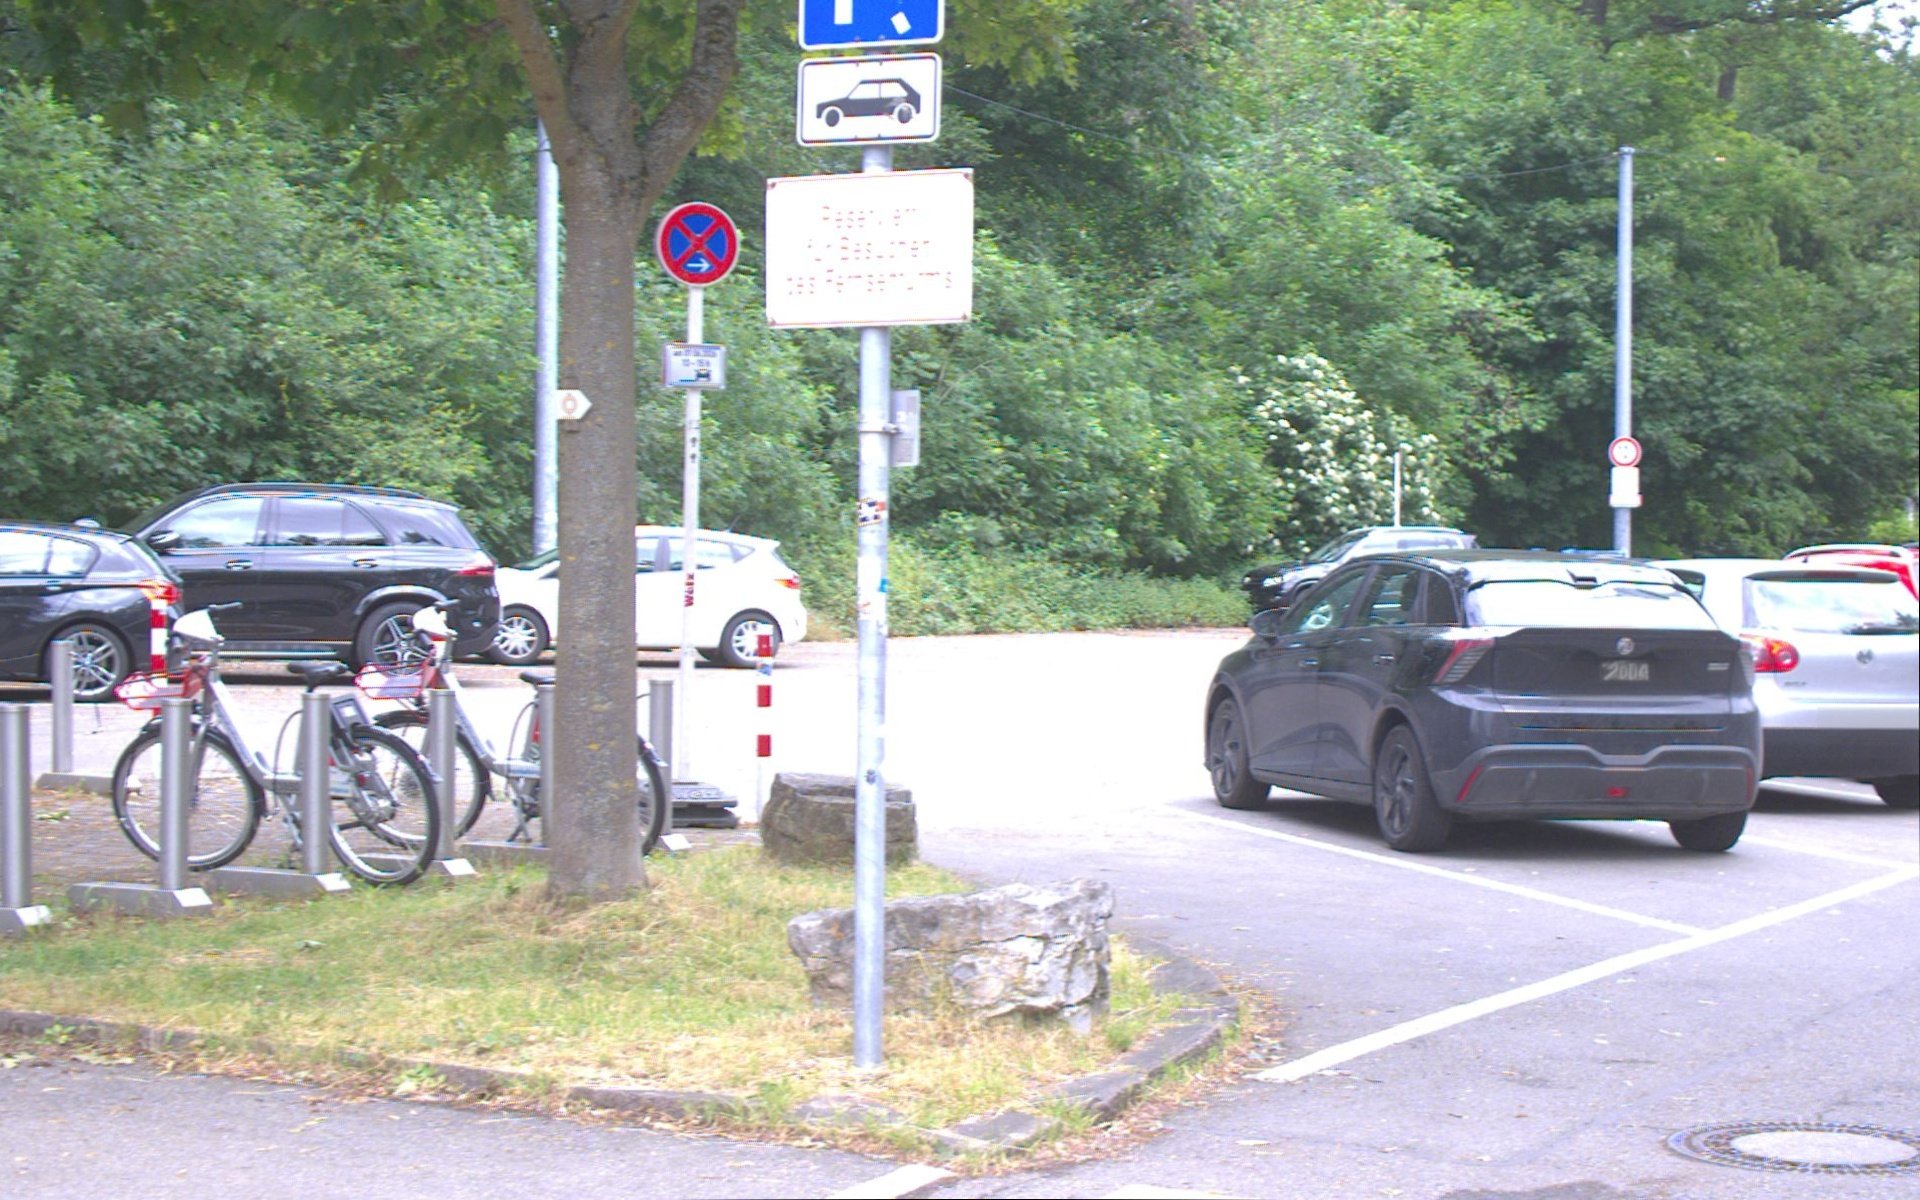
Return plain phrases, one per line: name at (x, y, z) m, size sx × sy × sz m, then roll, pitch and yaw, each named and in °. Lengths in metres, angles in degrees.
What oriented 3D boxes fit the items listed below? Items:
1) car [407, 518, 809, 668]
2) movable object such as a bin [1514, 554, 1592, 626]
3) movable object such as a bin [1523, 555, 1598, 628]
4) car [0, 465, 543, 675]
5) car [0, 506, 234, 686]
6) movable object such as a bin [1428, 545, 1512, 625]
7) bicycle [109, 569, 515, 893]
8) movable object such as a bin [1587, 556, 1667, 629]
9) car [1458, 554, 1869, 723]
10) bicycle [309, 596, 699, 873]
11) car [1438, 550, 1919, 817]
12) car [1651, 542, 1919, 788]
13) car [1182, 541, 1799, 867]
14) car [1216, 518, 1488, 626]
car at (-3.770, -0.078, 36.627) m, size 3.985 × 1.505 × 1.870 m, roll 1°, pitch 1°, yaw -15°
movable object such as a bin at (11.128, -0.188, 64.511) m, size 1.125 × 1.315 × 1.238 m, roll 1°, pitch 1°, yaw 25°
movable object such as a bin at (10.948, -0.161, 62.738) m, size 1.123 × 1.310 × 1.184 m, roll 1°, pitch 1°, yaw 0°
car at (-6.255, -0.270, 30.932) m, size 4.692 × 1.761 × 2.113 m, roll 1°, pitch 1°, yaw -15°
car at (-7.916, -0.068, 27.533) m, size 3.985 × 1.371 × 1.740 m, roll 1°, pitch 1°, yaw -15°
movable object such as a bin at (9.308, -0.272, 62.728) m, size 1.125 × 1.420 × 1.128 m, roll 2°, pitch 1°, yaw 33°
bicycle at (-2.670, 0.510, 14.076) m, size 1.683 × 1.107 × 0.482 m, roll 7°, pitch 4°, yaw 32°
movable object such as a bin at (12.144, -0.145, 62.676) m, size 1.169 × 1.303 × 1.313 m, roll 1°, pitch 1°, yaw 0°
car at (6.572, 0.320, 32.632) m, size 1.863 × 1.437 × 4.318 m, roll 1°, pitch 1°, yaw -19°
bicycle at (-2.018, 0.563, 15.097) m, size 1.786 × 1.108 × 0.482 m, roll 2°, pitch 1°, yaw 33°
car at (4.773, 0.463, 21.654) m, size 1.870 × 1.478 × 4.001 m, roll 1°, pitch 1°, yaw -18°
car at (6.574, 0.413, 24.273) m, size 1.681 × 1.580 × 3.656 m, roll 1°, pitch 1°, yaw -19°
car at (2.685, 0.473, 18.453) m, size 1.824 × 1.518 × 4.102 m, roll 1°, pitch 1°, yaw -13°
car at (6.495, -0.476, 57.097) m, size 4.057 × 1.679 × 1.881 m, roll 1°, pitch 1°, yaw -14°
